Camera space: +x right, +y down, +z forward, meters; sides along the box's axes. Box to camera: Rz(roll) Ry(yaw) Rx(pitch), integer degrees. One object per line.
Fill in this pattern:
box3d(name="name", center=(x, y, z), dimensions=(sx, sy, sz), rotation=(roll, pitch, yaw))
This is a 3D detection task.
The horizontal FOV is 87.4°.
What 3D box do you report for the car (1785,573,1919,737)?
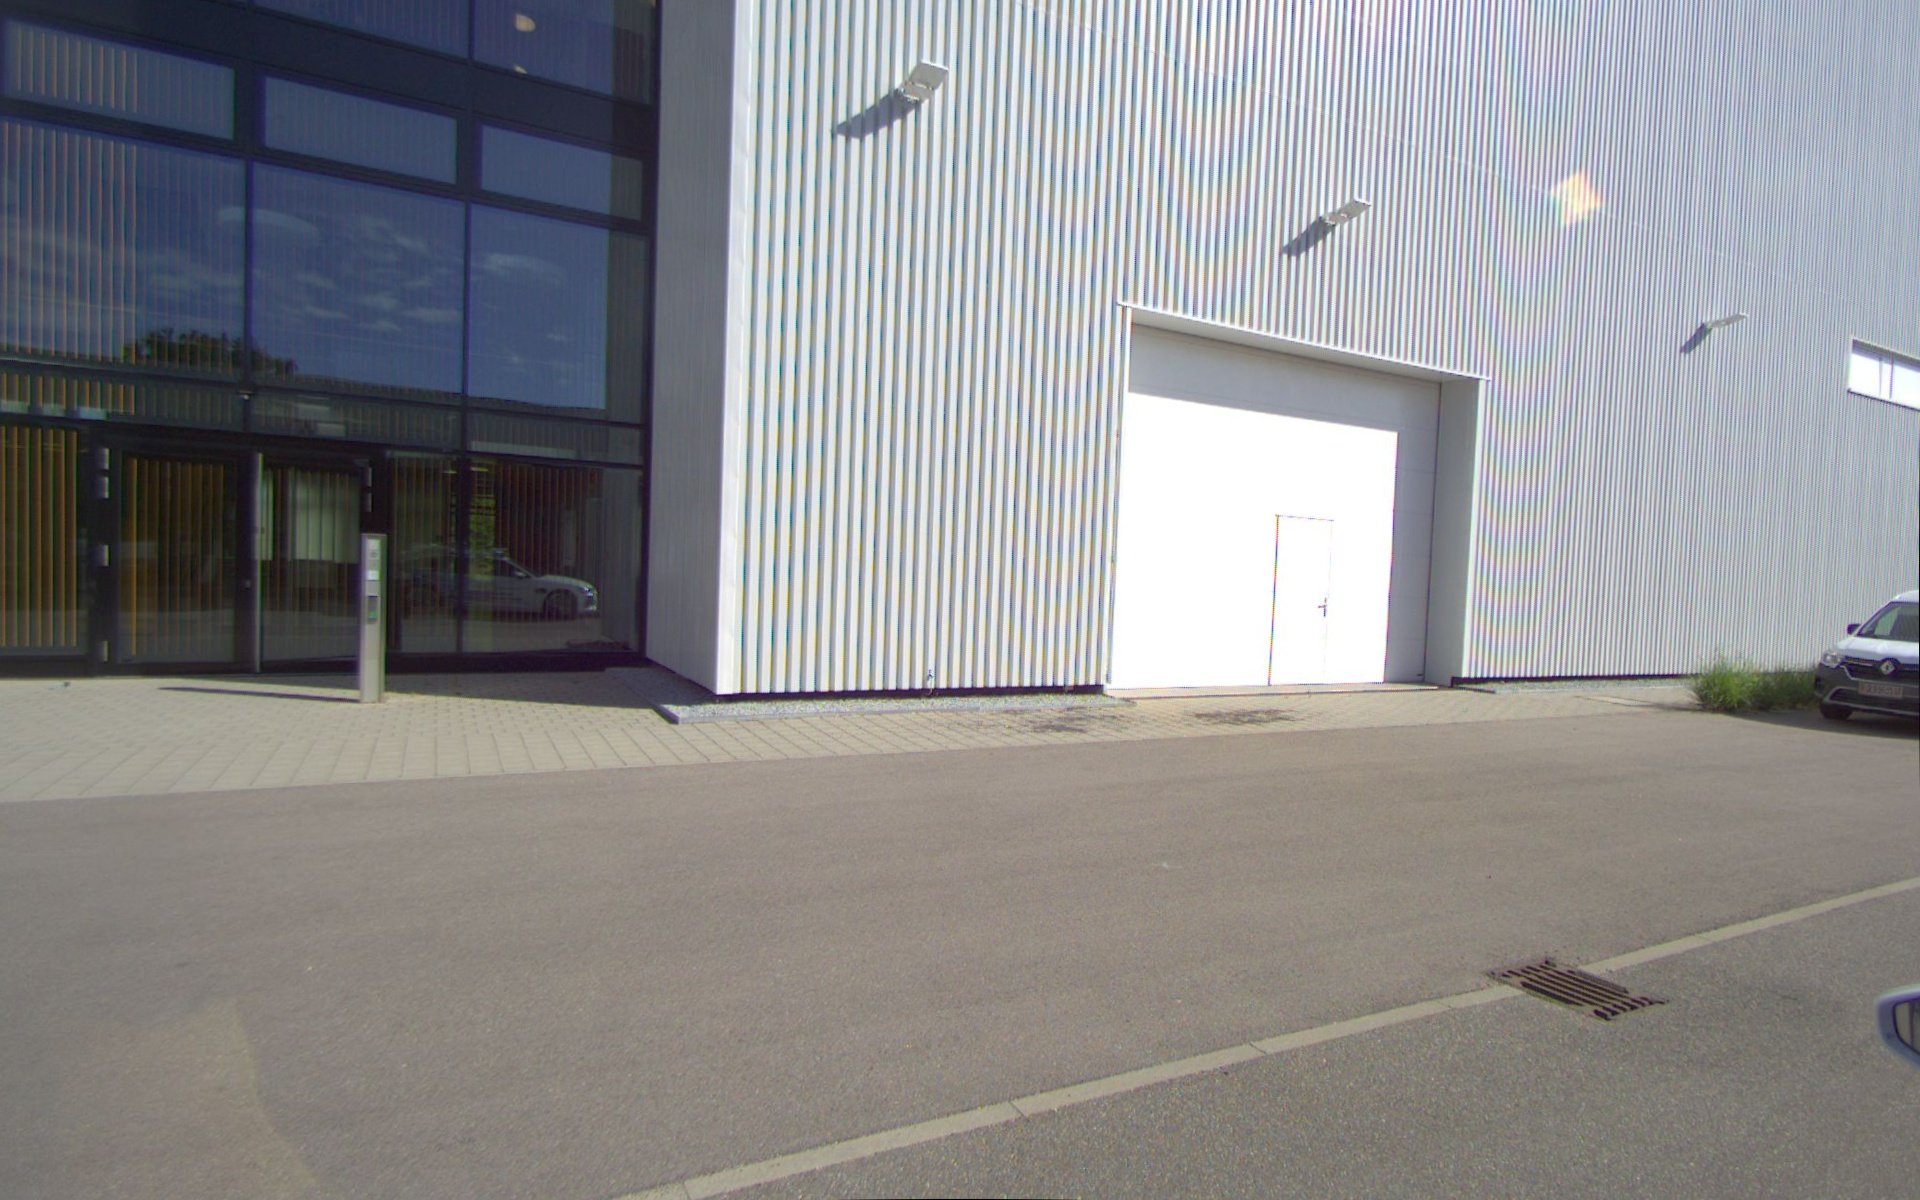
box3d(name="car", center=(13.072, 0.707, 13.198), dimensions=(4.305, 1.870, 1.882), rotation=(1, 4, -29))
